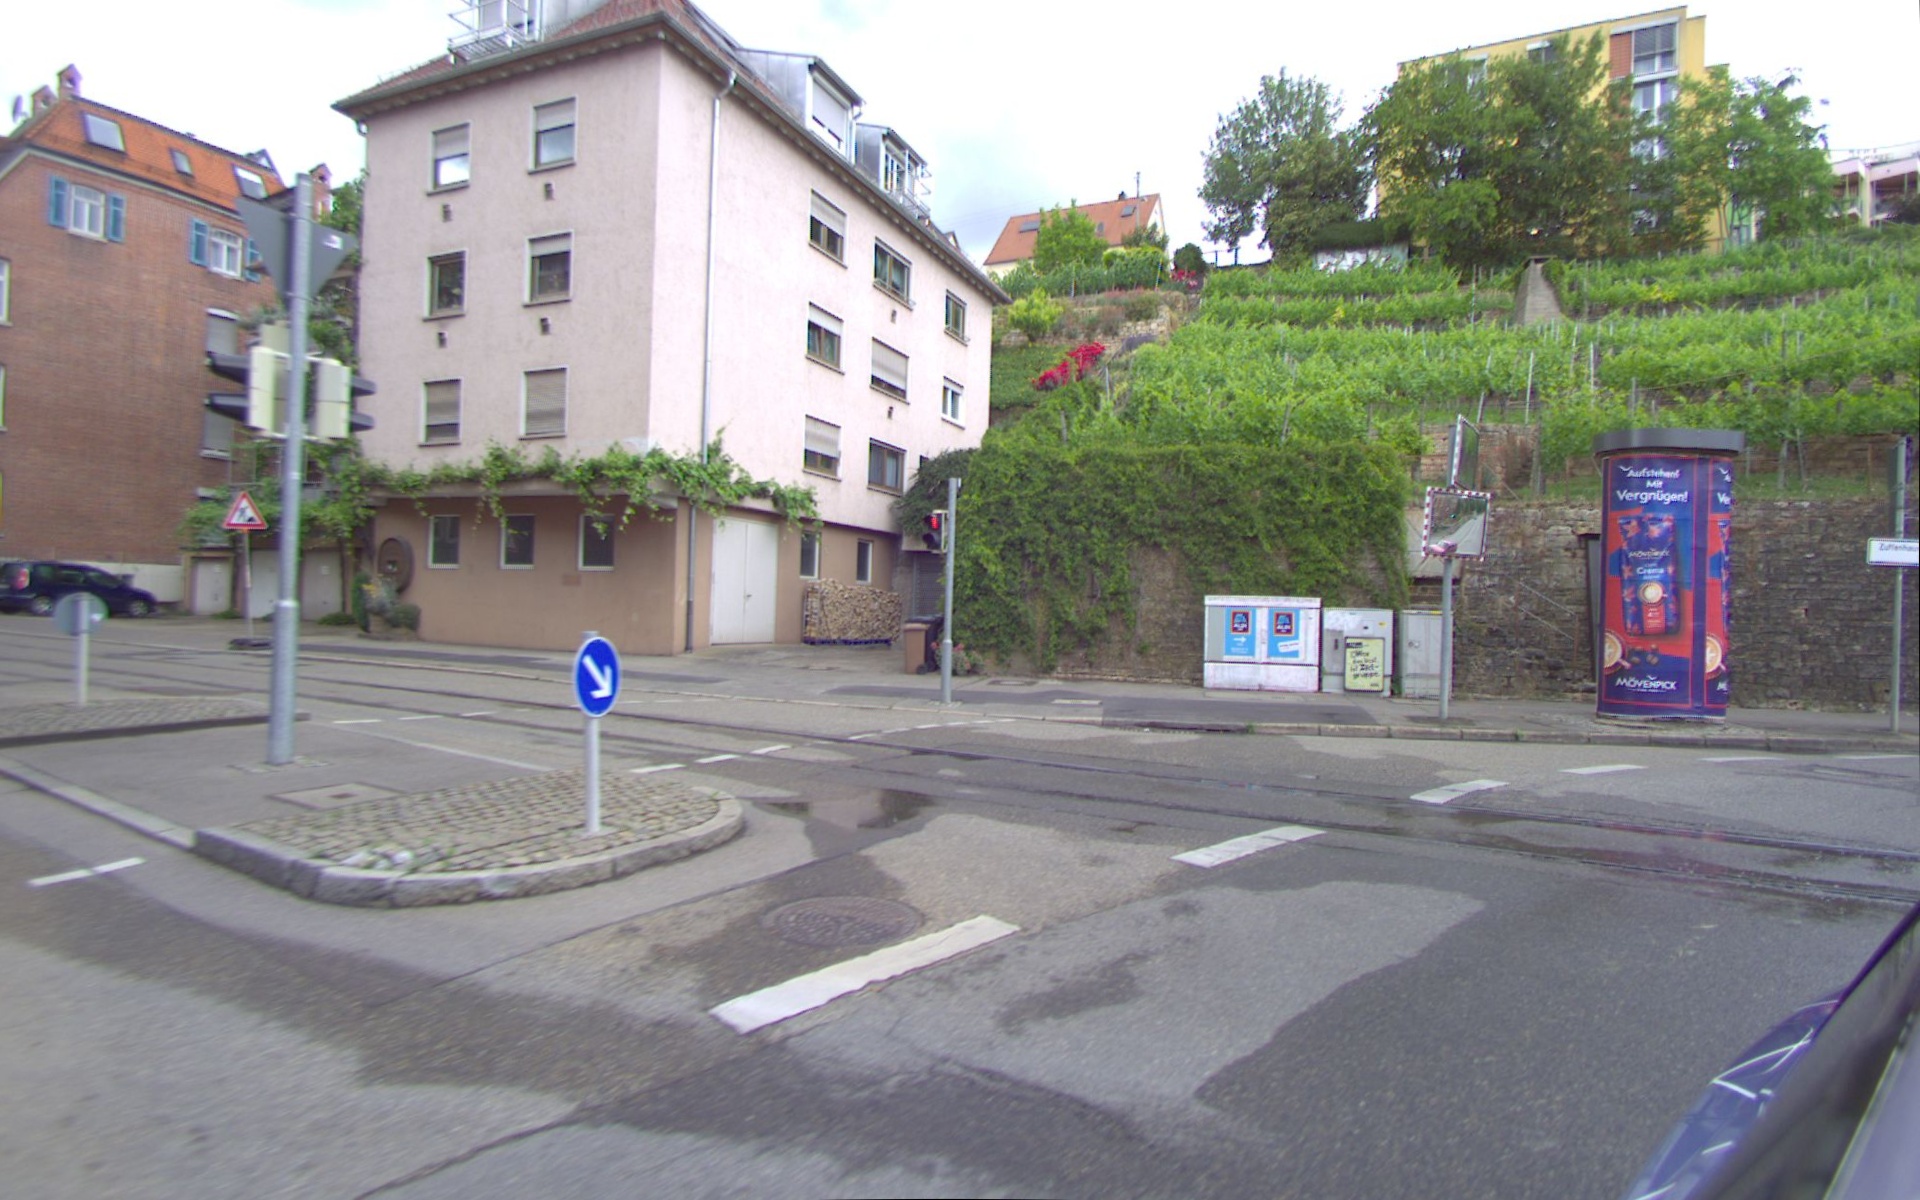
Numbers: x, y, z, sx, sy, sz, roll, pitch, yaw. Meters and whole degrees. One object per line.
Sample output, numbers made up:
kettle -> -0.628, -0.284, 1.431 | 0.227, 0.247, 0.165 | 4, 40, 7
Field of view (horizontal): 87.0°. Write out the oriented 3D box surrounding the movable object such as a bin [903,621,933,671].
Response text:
movable object such as a bin -> -0.777, 0.845, 18.748 | 0.487, 0.923, 0.344 | -1, -2, 9

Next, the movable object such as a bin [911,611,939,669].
movable object such as a bin -> -0.664, 0.761, 19.274 | 0.465, 1.096, 0.407 | 0, -1, 9

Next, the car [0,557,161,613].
car -> -27.160, -0.468, 30.964 | 1.849, 1.571, 3.896 | 1, 1, 21
